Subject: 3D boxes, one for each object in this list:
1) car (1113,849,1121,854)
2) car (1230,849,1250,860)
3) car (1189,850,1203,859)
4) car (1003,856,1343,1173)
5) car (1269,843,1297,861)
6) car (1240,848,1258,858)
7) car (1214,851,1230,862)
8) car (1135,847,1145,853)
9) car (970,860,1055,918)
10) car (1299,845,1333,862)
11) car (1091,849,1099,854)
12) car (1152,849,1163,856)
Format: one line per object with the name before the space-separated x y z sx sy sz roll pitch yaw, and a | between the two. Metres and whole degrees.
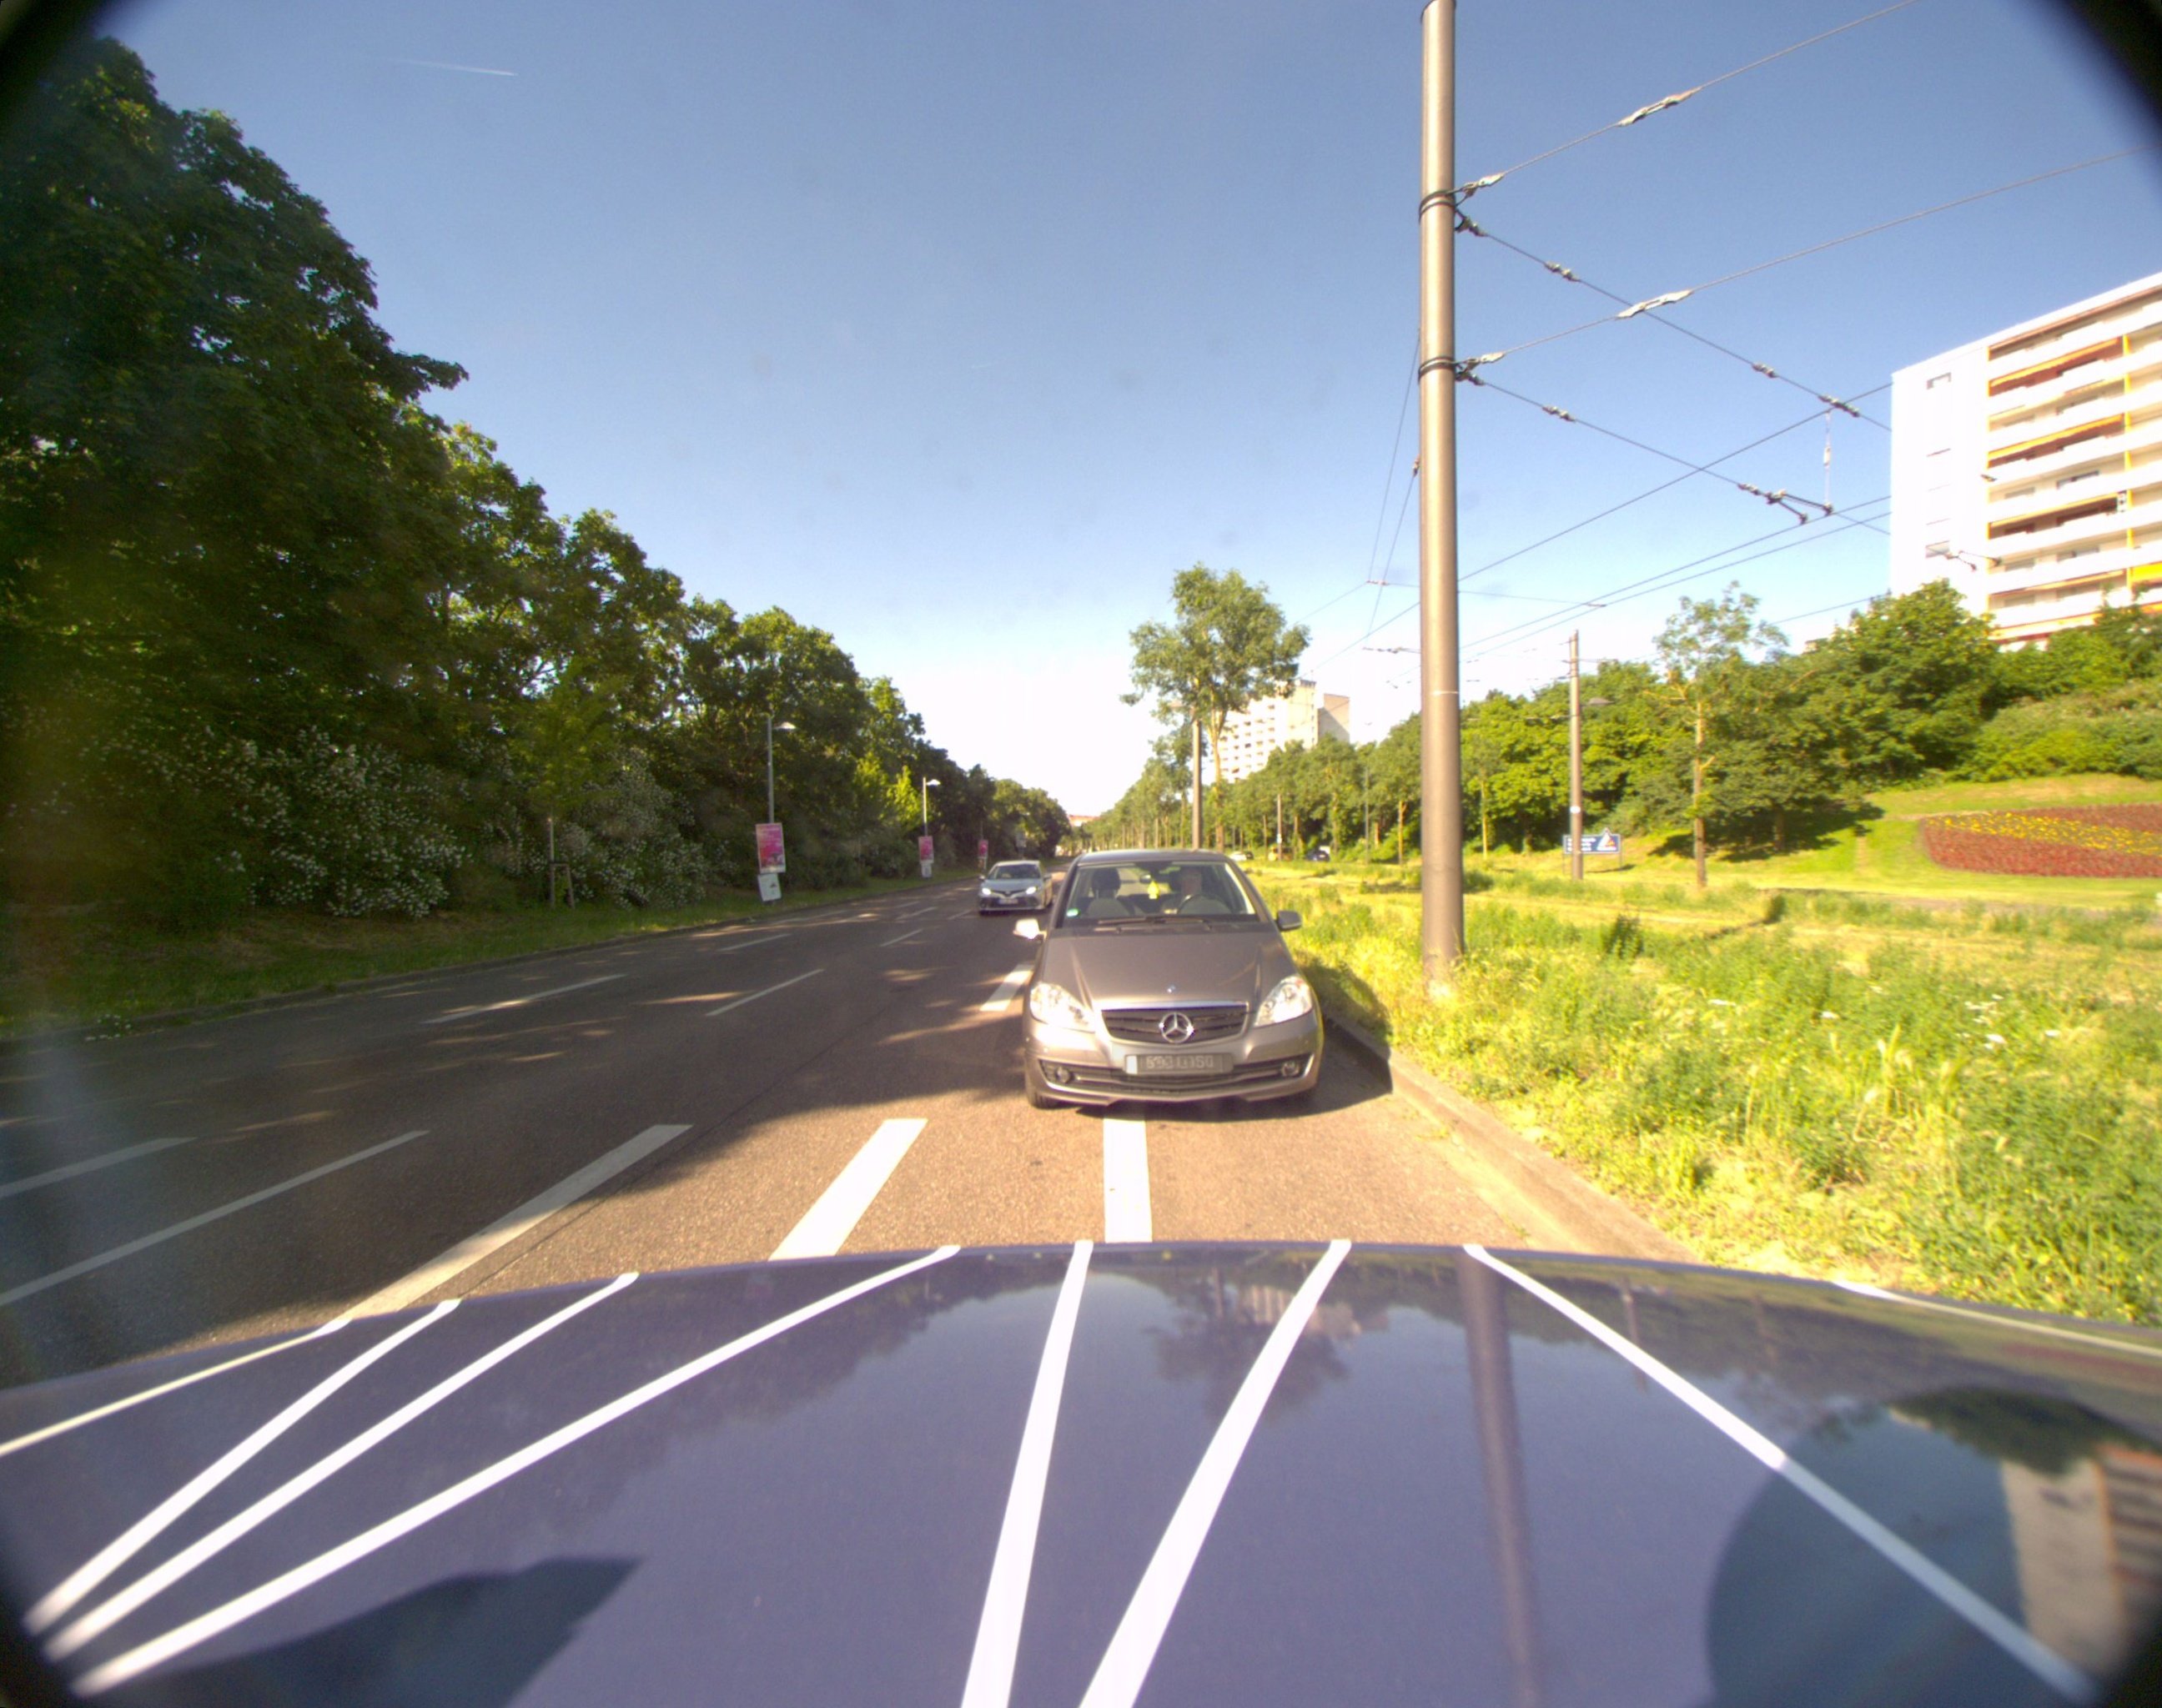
car | 10.707 -0.771 226.595 1.803 1.455 3.998 0 1 -4
car | 19.917 0.075 95.443 1.693 1.399 4.021 -1 0 1
car | 18.366 0.092 121.649 1.799 1.408 4.311 -1 0 3
car | 0.510 0.854 5.926 1.759 1.612 3.880 -1 0 1
car | 23.138 -0.219 87.256 1.998 1.955 4.907 -1 0 1
car | 23.070 -0.154 104.427 1.780 1.368 4.001 -1 0 3
car | 22.362 0.414 120.660 1.792 1.500 4.240 -2 2 2
car | 15.334 -1.030 196.576 1.803 1.456 3.997 -2 2 -5
car | -1.869 0.945 22.128 1.875 1.428 4.594 -1 0 2
car | 22.649 -0.013 73.348 1.998 1.565 4.106 -1 0 1
car | 4.862 -0.796 259.571 1.911 1.652 3.996 -1 0 -10
car | 16.187 -0.250 161.487 1.793 1.499 4.239 -1 0 -2
